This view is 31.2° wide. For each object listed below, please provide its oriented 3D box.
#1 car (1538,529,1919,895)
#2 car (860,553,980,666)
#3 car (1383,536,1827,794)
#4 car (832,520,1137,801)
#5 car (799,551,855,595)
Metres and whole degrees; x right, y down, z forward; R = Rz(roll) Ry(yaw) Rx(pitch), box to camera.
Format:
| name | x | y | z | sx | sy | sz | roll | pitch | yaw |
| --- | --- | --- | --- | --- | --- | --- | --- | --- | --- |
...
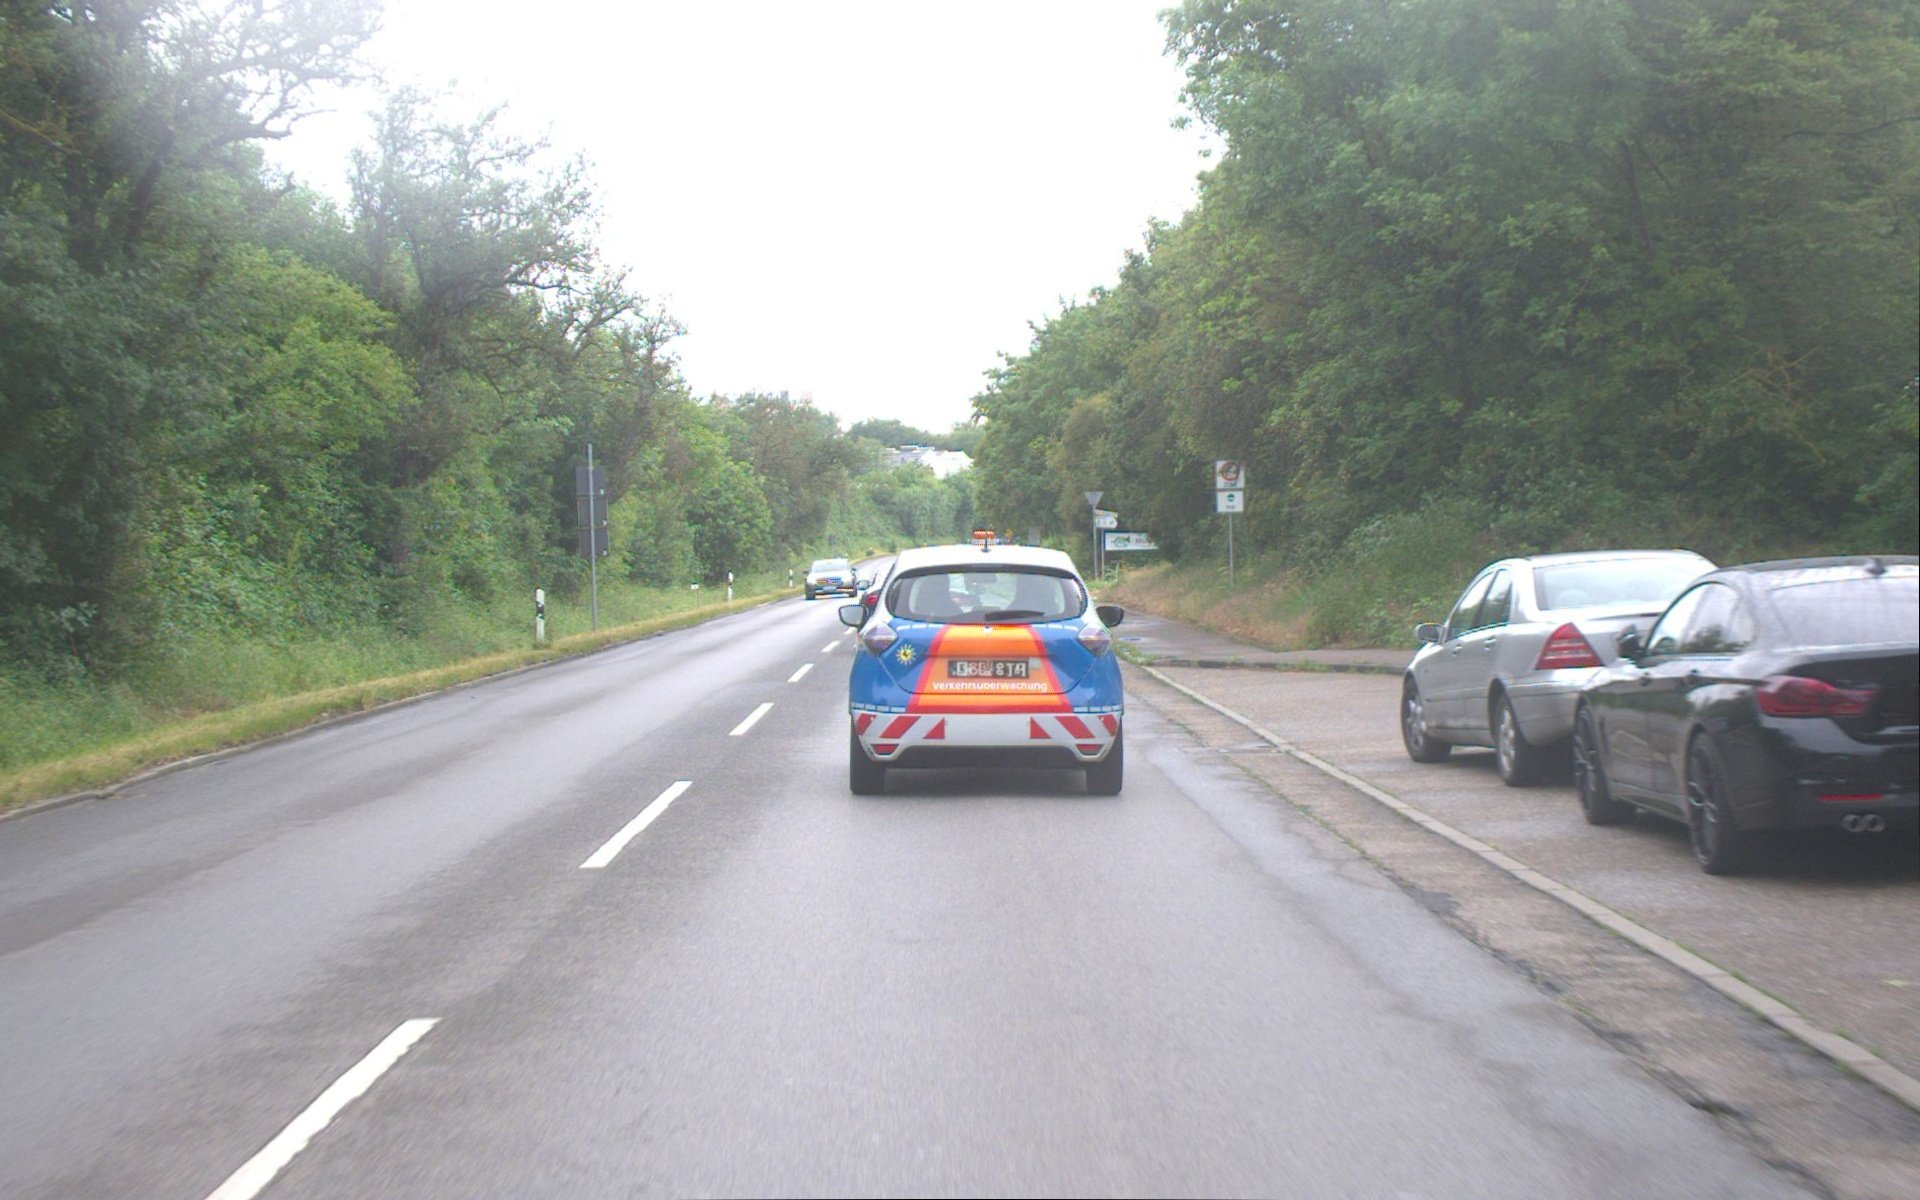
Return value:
| name | x | y | z | sx | sy | sz | roll | pitch | yaw |
| --- | --- | --- | --- | --- | --- | --- | --- | --- | --- |
| car | 4.214 | 0.437 | 17.001 | 1.806 | 1.505 | 4.667 | -3 | 0 | -1 |
| car | -0.620 | 0.118 | 50.939 | 1.694 | 1.590 | 3.856 | 1 | 0 | -1 |
| car | 4.104 | 0.377 | 22.573 | 1.744 | 1.463 | 4.221 | -2 | 0 | -5 |
| car | 0.129 | 0.349 | 22.608 | 1.806 | 1.662 | 3.856 | 1 | 0 | -1 |
| car | -4.988 | -1.022 | 129.362 | 1.871 | 1.484 | 4.574 | -4 | 0 | 0 |
